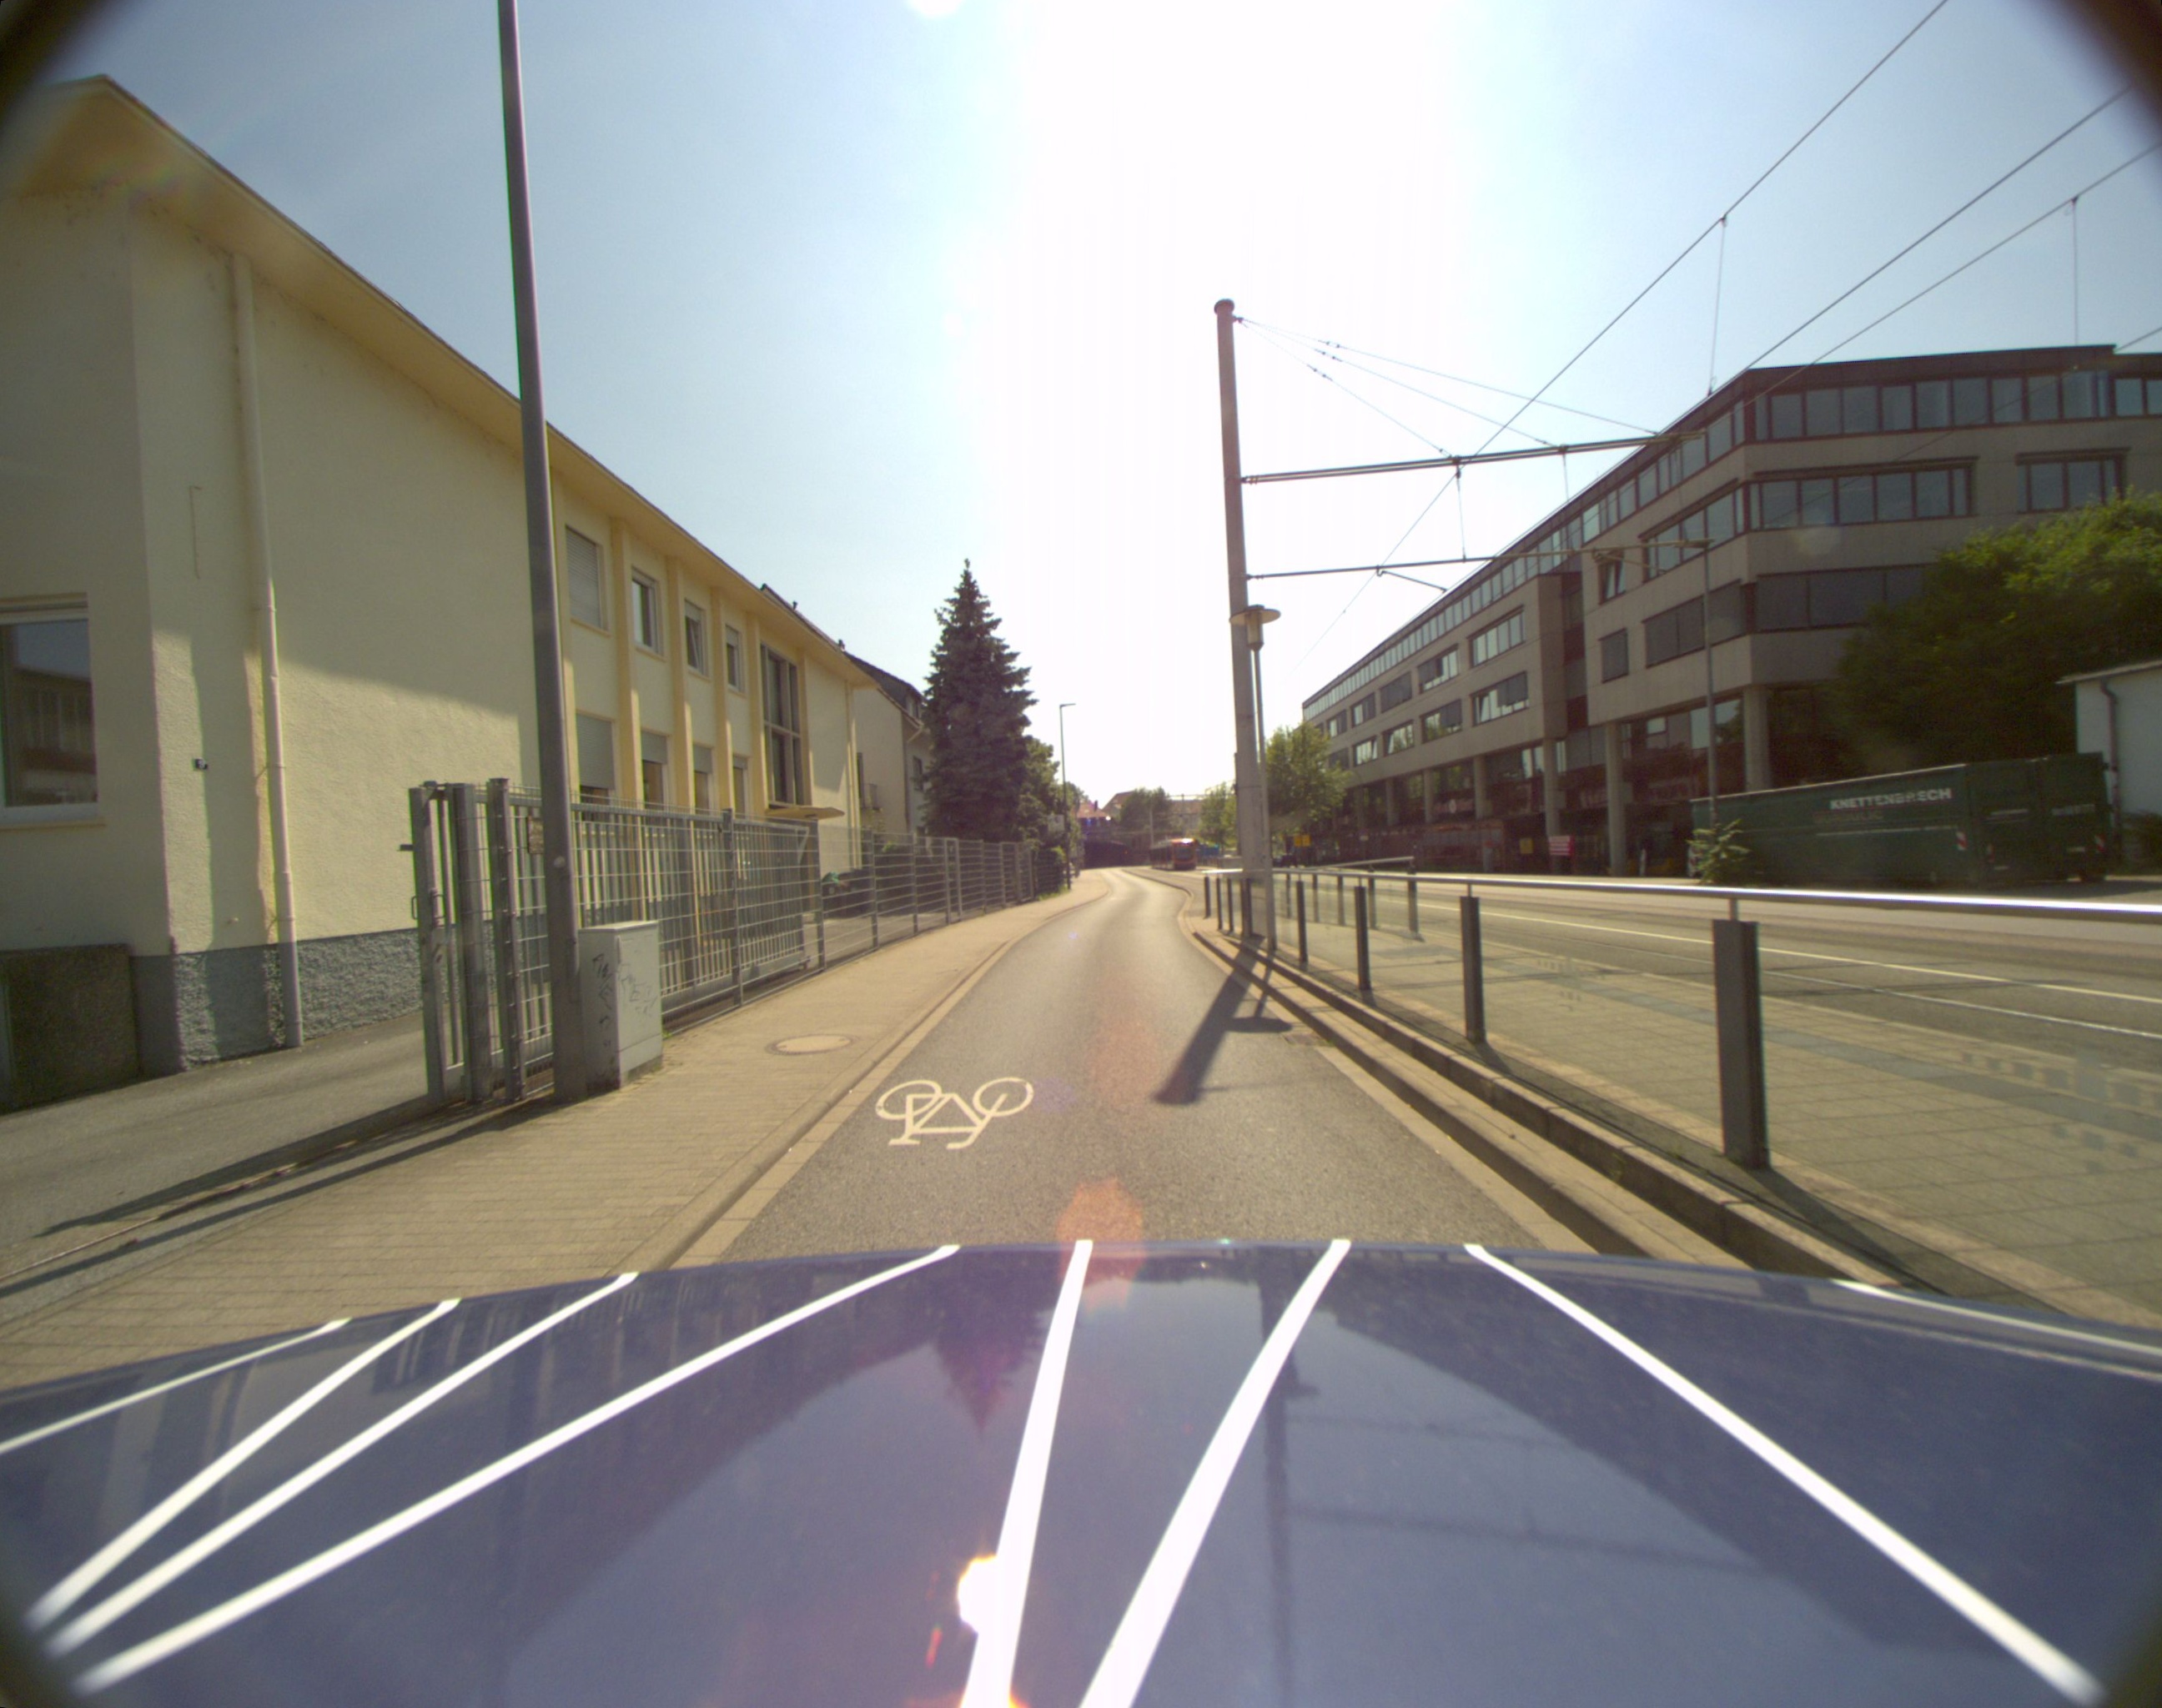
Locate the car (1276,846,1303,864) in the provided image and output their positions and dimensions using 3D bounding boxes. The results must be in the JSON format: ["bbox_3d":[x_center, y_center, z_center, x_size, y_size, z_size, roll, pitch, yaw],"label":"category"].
[{"bbox_3d":[20.151,0.067,73.603,1.997,1.613,4.002,-2,0,8],"label":"car"}]

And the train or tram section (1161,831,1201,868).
[{"bbox_3d":[10.495,-0.421,81.079,2.680,3.464,12.328,-3,0,1],"label":"train or tram section"}]

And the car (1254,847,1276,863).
[{"bbox_3d":[19.567,0.139,81.132,1.870,1.608,4.002,-2,0,8],"label":"car"}]

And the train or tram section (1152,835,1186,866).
[{"bbox_3d":[10.690,-0.361,93.862,2.680,3.464,13.390,-3,0,1],"label":"train or tram section"}]

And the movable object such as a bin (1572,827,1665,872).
[{"bbox_3d":[25.981,-0.190,36.832,1.748,2.002,3.175,-3,0,-19],"label":"movable object such as a bin"}]
